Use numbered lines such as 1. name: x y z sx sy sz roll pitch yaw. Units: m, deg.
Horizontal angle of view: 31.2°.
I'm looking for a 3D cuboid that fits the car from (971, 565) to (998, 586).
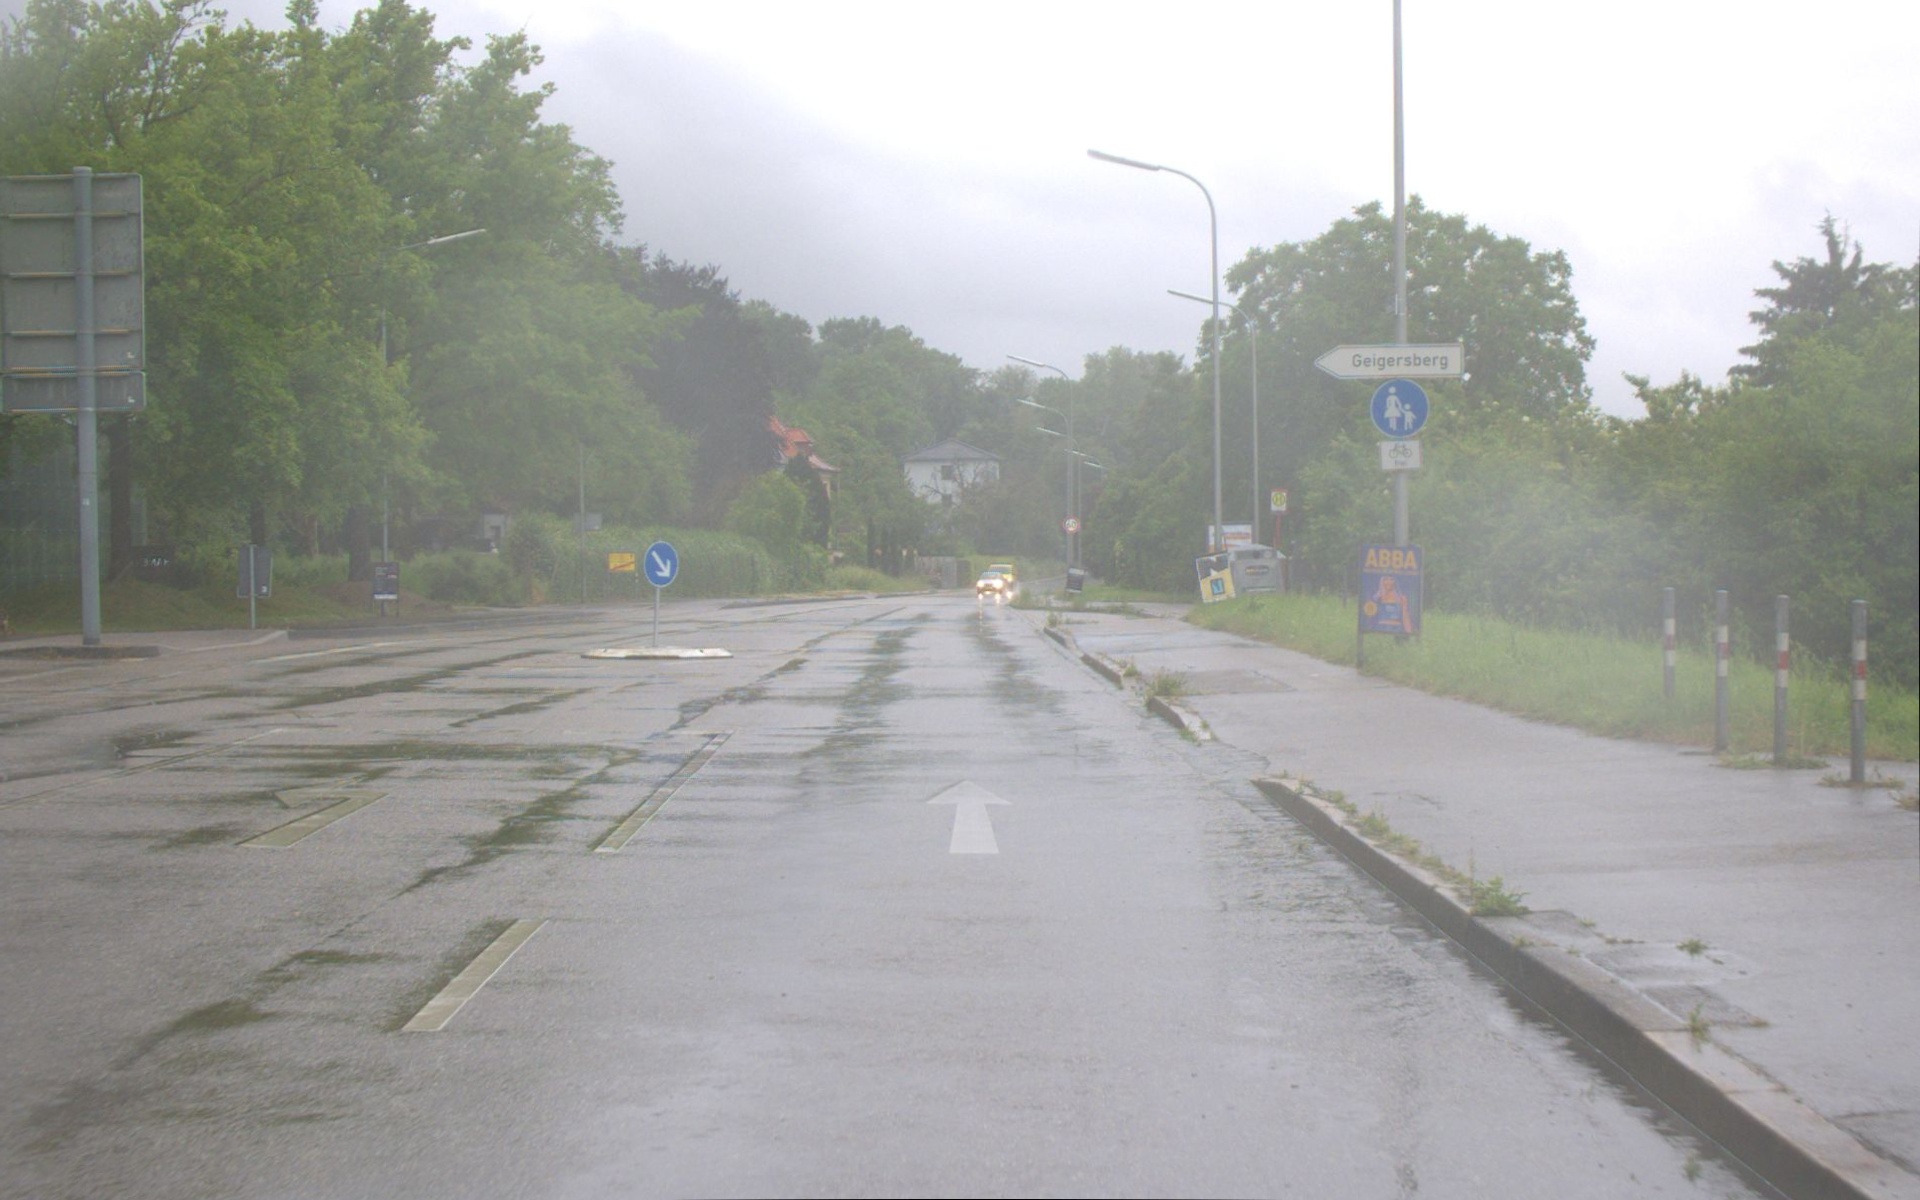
1. car: 1.631 -1.613 224.797 1.702 1.345 3.905 0 1 2
